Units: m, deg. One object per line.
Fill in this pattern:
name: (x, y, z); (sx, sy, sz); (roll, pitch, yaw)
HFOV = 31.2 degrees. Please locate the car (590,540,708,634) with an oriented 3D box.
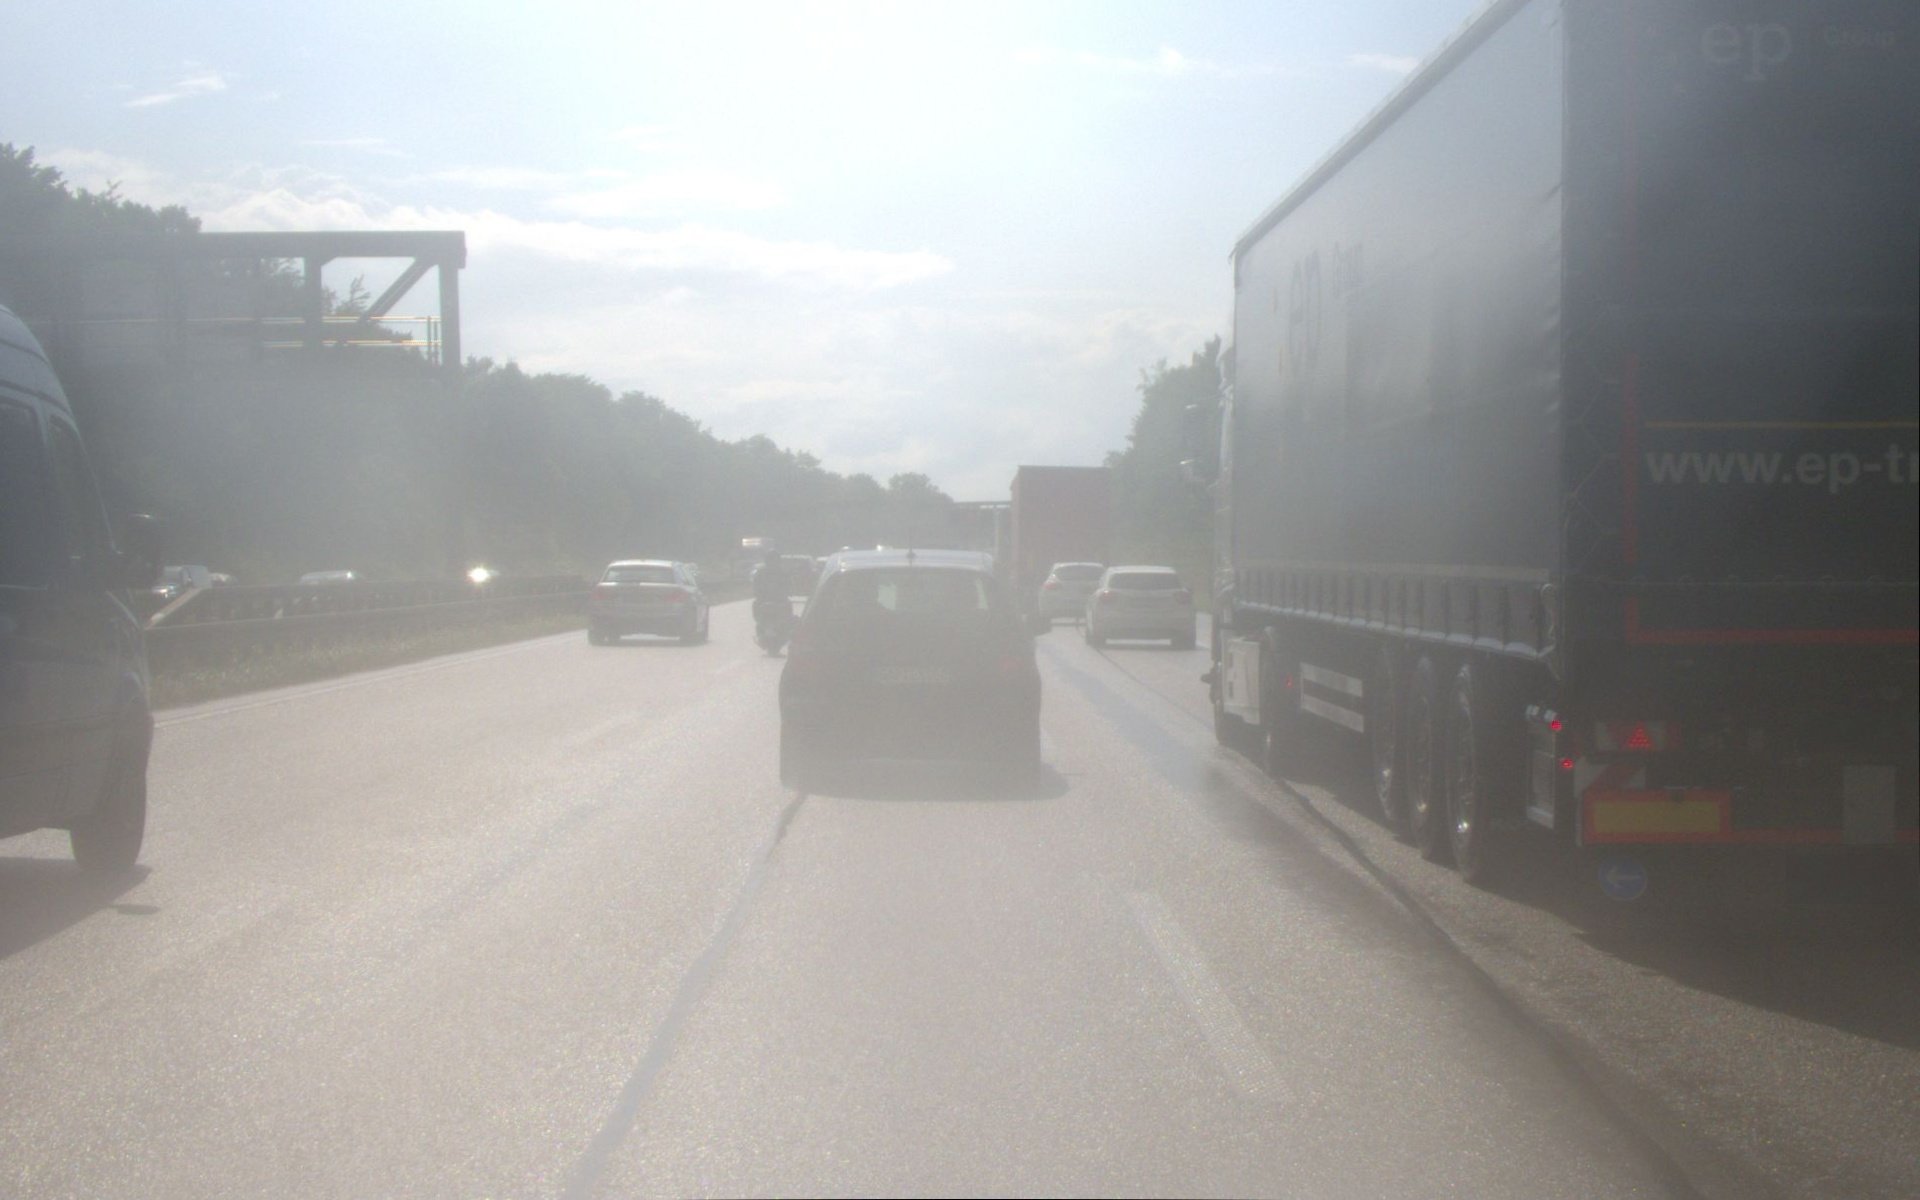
car: (-5.467, -0.256, 60.852); (1.758, 1.589, 4.331); (1, 1, -1)

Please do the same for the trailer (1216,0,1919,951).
trailer: (3.666, -0.909, 20.030); (3.088, 4.298, 14.106); (1, 1, -1)

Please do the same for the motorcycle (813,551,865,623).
motorcycle: (-2.195, -0.244, 62.274); (0.819, 1.258, 2.118); (1, 1, -5)

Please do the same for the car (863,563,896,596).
car: (-5.007, -1.261, 214.236); (1.993, 2.007, 4.000); (1, 0, -1)

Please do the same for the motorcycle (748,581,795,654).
motorcycle: (-2.938, 0.264, 53.483); (0.676, 1.083, 1.982); (1, 1, -4)

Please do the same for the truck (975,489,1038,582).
truck: (2.363, -3.332, 180.461); (2.882, 4.671, 12.659); (1, 0, -1)

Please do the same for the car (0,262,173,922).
car: (-4.851, -0.042, 14.110); (2.015, 2.639, 5.777); (1, 1, -1)

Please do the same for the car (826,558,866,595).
car: (-4.988, -1.039, 150.584); (1.675, 1.591, 3.437); (1, 1, -1)

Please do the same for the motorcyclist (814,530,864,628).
motorcyclist: (-2.188, -0.379, 62.192); (0.821, 1.755, 1.390); (1, 0, -5)

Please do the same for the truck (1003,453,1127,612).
truck: (2.981, -1.933, 100.377); (3.202, 4.389, 9.432); (1, 1, 0)

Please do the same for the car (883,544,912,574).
car: (-4.340, -2.846, 239.221); (1.993, 2.007, 4.000); (1, 0, -1)

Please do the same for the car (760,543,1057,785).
car: (-0.380, 0.389, 24.475); (1.915, 1.560, 4.314); (1, 1, -1)

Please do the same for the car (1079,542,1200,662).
car: (3.116, 0.017, 60.393); (1.849, 2.007, 4.087); (1, 0, 0)

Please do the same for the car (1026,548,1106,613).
car: (2.473, -0.468, 80.831); (1.675, 1.485, 3.437); (1, 1, -1)

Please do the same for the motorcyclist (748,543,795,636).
motorcyclist: (-2.933, -0.166, 53.432); (0.670, 1.437, 1.020); (1, 0, -5)

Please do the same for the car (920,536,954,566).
car: (-1.151, -2.467, 172.977); (1.631, 1.485, 3.437); (1, 1, -1)

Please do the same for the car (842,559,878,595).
car: (-5.730, -1.315, 196.824); (1.993, 2.007, 4.000); (1, 0, -1)

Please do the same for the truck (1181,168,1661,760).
truck: (3.584, -1.018, 28.241); (3.052, 4.310, 5.886); (1, 0, 0)

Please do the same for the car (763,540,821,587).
car: (-5.891, -1.282, 120.982); (1.893, 1.622, 4.195); (1, 1, -1)

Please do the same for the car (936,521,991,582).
car: (0.102, -1.581, 111.411); (1.675, 1.929, 3.773); (1, 1, -1)
